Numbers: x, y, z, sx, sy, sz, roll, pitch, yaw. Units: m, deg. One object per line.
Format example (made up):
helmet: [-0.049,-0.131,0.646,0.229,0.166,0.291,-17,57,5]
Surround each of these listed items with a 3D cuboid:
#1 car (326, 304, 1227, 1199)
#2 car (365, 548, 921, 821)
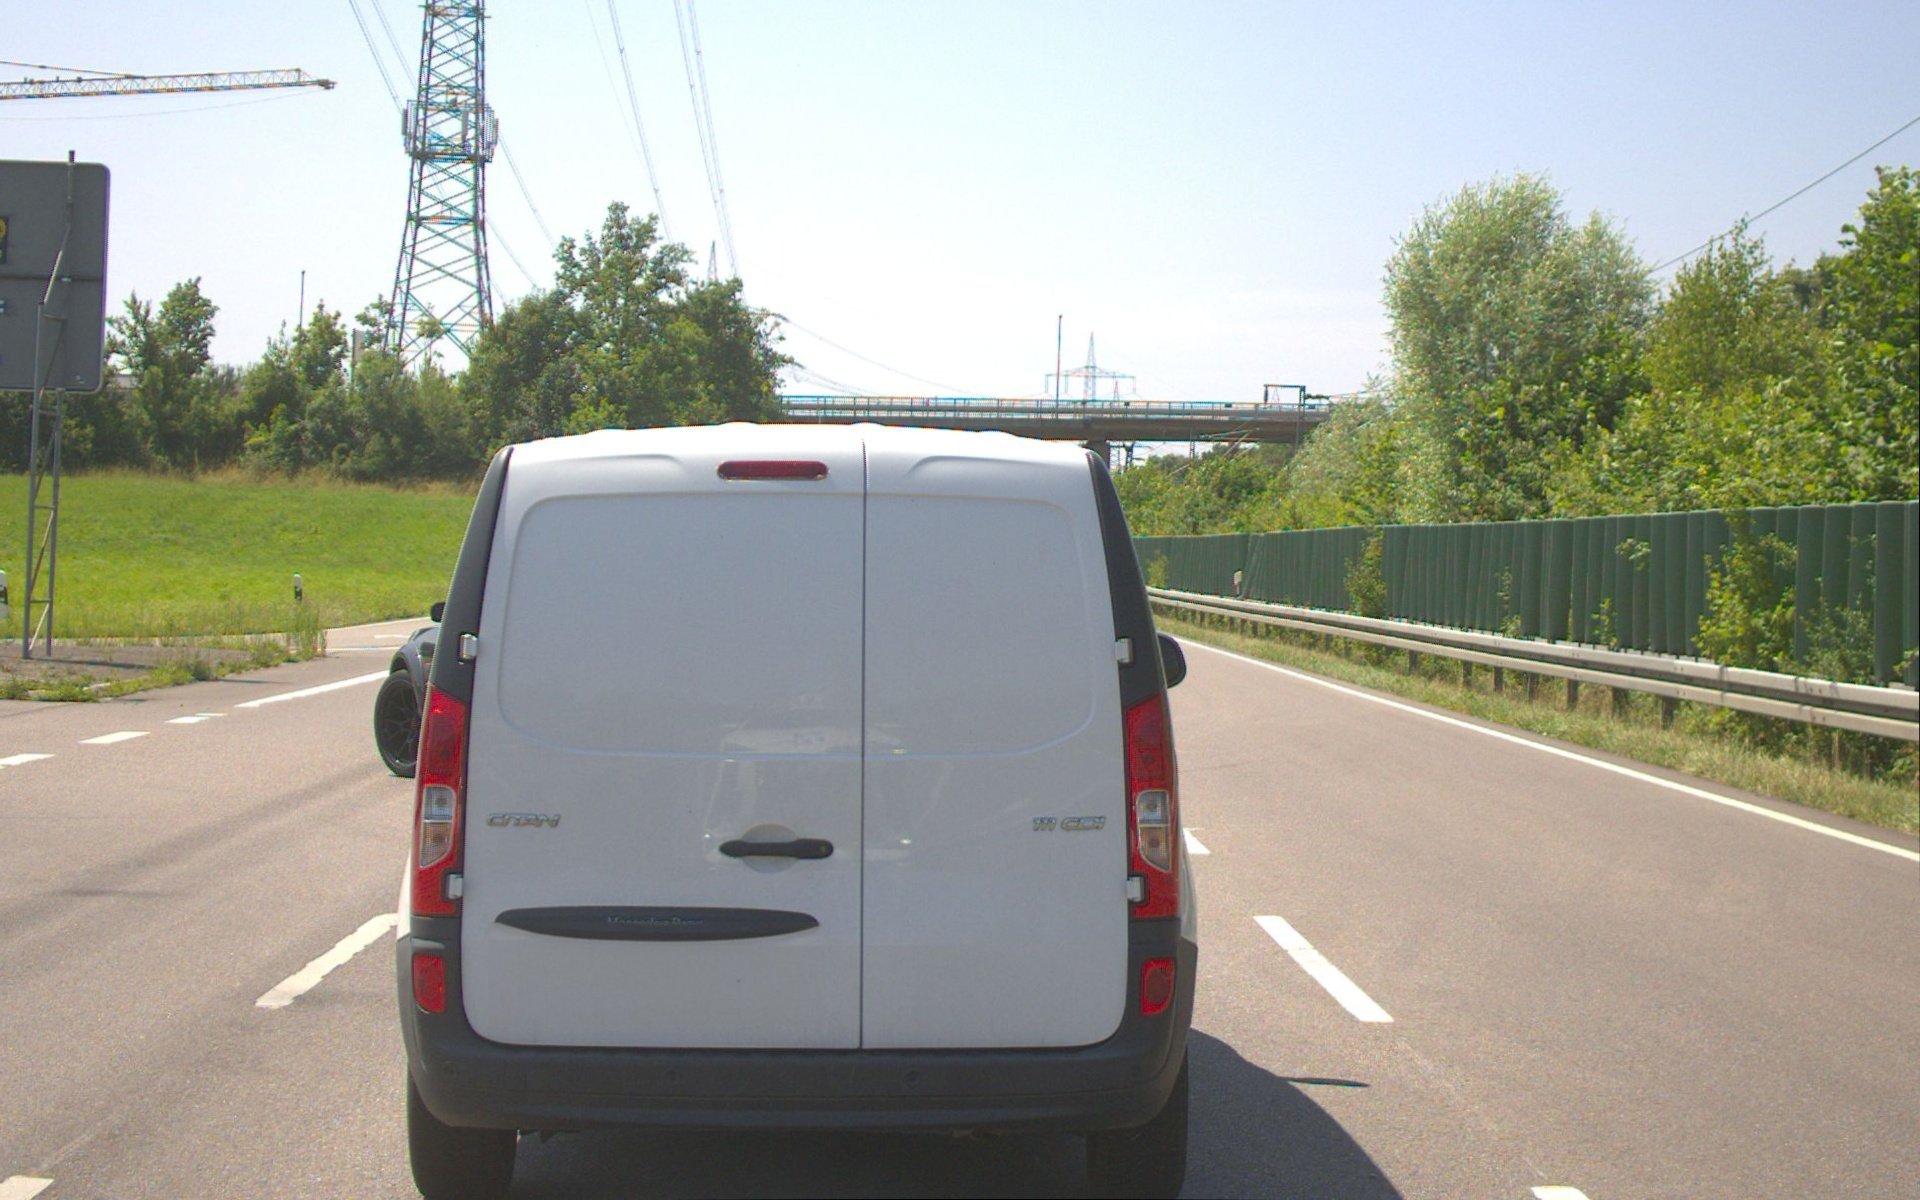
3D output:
car: [-0.421,0.353,9.061,1.827,1.964,4.000,1,1,-1]
car: [-2.042,0.438,20.616,1.855,1.392,4.655,2,1,-24]
